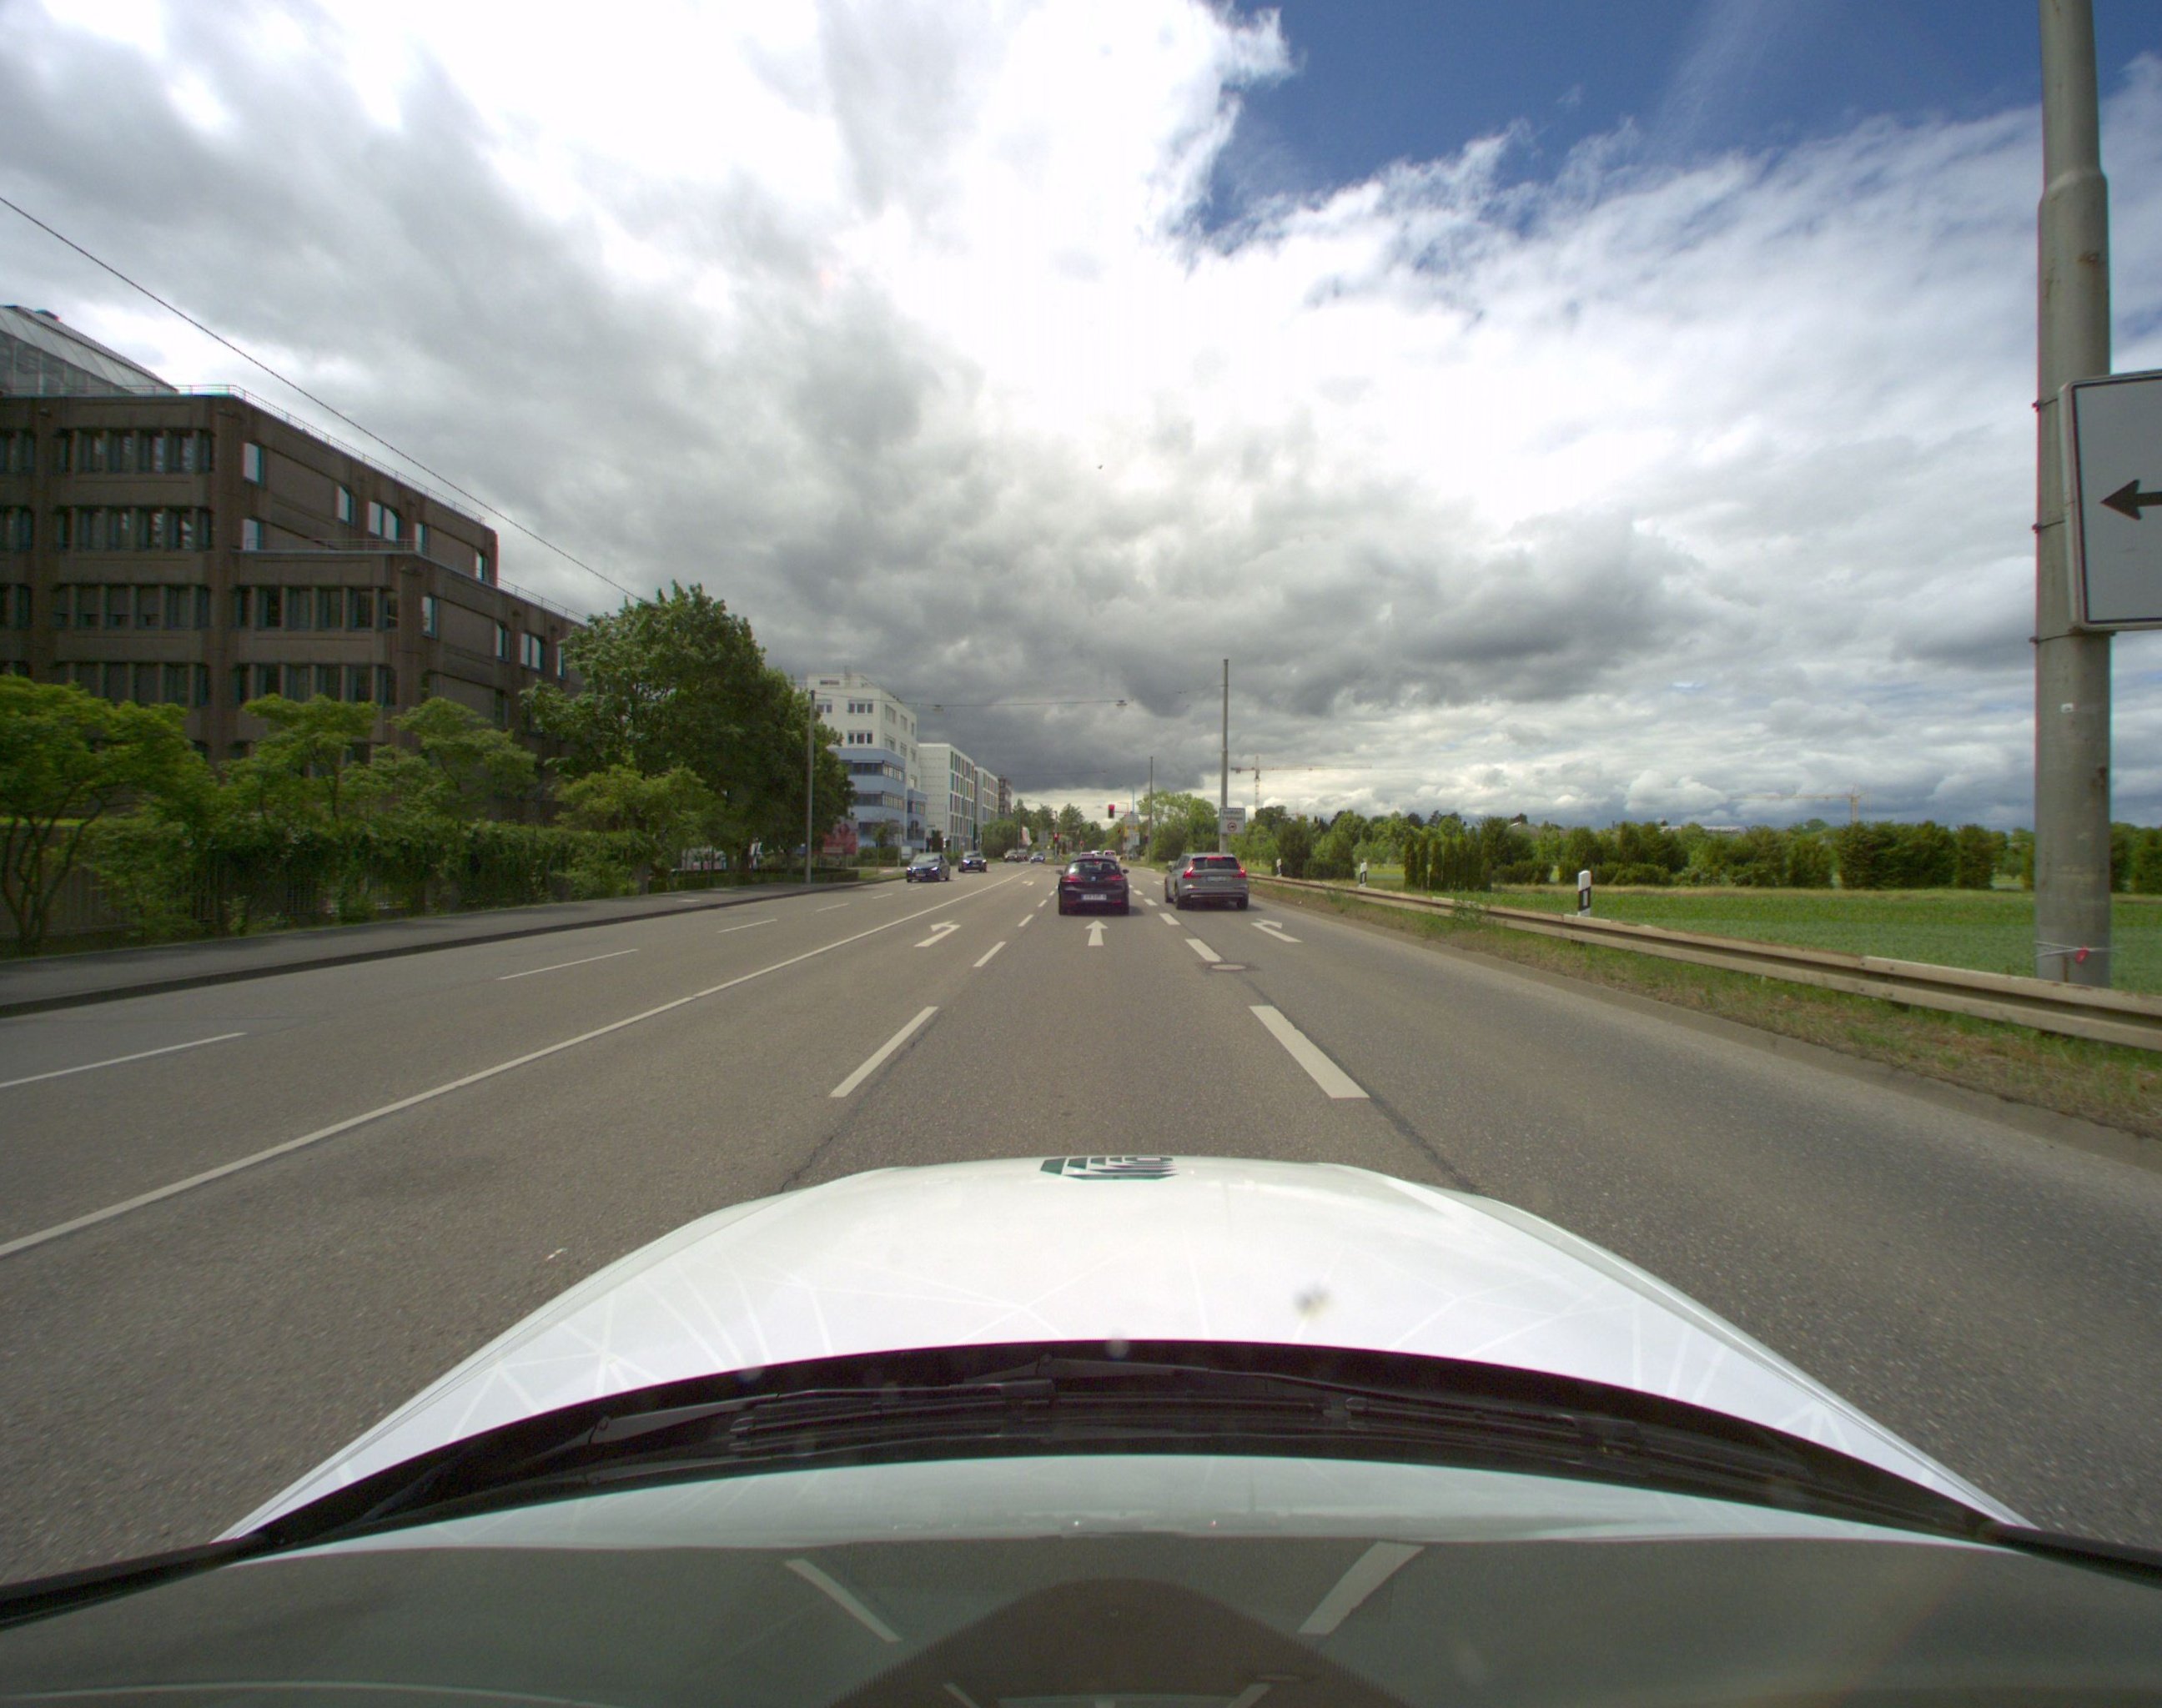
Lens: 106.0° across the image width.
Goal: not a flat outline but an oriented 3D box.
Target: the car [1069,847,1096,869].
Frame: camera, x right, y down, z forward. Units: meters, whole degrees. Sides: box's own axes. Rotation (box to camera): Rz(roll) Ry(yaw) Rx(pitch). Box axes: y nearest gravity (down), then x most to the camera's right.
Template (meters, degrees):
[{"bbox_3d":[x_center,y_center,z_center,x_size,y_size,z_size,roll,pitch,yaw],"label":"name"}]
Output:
[{"bbox_3d":[0.091,0.304,64.730,1.978,1.590,4.224,1,1,-1],"label":"car"}]

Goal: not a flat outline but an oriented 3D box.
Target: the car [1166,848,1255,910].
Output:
[{"bbox_3d":[3.444,0.641,22.454,1.950,1.525,4.343,-1,-1,3],"label":"car"}]

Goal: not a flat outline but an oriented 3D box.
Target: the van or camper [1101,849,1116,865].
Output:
[{"bbox_3d":[3.896,0.458,116.717,1.895,1.926,3.995,-1,-4,-3],"label":"van or camper"}]

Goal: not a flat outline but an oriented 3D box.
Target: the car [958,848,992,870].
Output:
[{"bbox_3d":[-8.019,0.416,62.140,1.861,1.615,4.572,0,0,1],"label":"car"}]

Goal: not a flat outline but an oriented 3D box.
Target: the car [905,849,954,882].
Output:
[{"bbox_3d":[-8.180,0.620,44.431,1.791,1.585,4.312,3,0,0],"label":"car"}]

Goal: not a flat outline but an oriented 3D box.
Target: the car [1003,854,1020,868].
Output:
[{"bbox_3d":[-8.956,0.880,105.284,1.746,1.631,3.999,-1,0,-1],"label":"car"}]

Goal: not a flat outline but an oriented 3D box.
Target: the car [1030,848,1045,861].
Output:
[{"bbox_3d":[-5.545,0.095,104.323,1.663,1.524,4.007,-2,1,-1],"label":"car"}]

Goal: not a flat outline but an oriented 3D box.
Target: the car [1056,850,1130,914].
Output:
[{"bbox_3d":[0.392,0.667,21.100,1.740,1.484,4.003,0,0,3],"label":"car"}]
